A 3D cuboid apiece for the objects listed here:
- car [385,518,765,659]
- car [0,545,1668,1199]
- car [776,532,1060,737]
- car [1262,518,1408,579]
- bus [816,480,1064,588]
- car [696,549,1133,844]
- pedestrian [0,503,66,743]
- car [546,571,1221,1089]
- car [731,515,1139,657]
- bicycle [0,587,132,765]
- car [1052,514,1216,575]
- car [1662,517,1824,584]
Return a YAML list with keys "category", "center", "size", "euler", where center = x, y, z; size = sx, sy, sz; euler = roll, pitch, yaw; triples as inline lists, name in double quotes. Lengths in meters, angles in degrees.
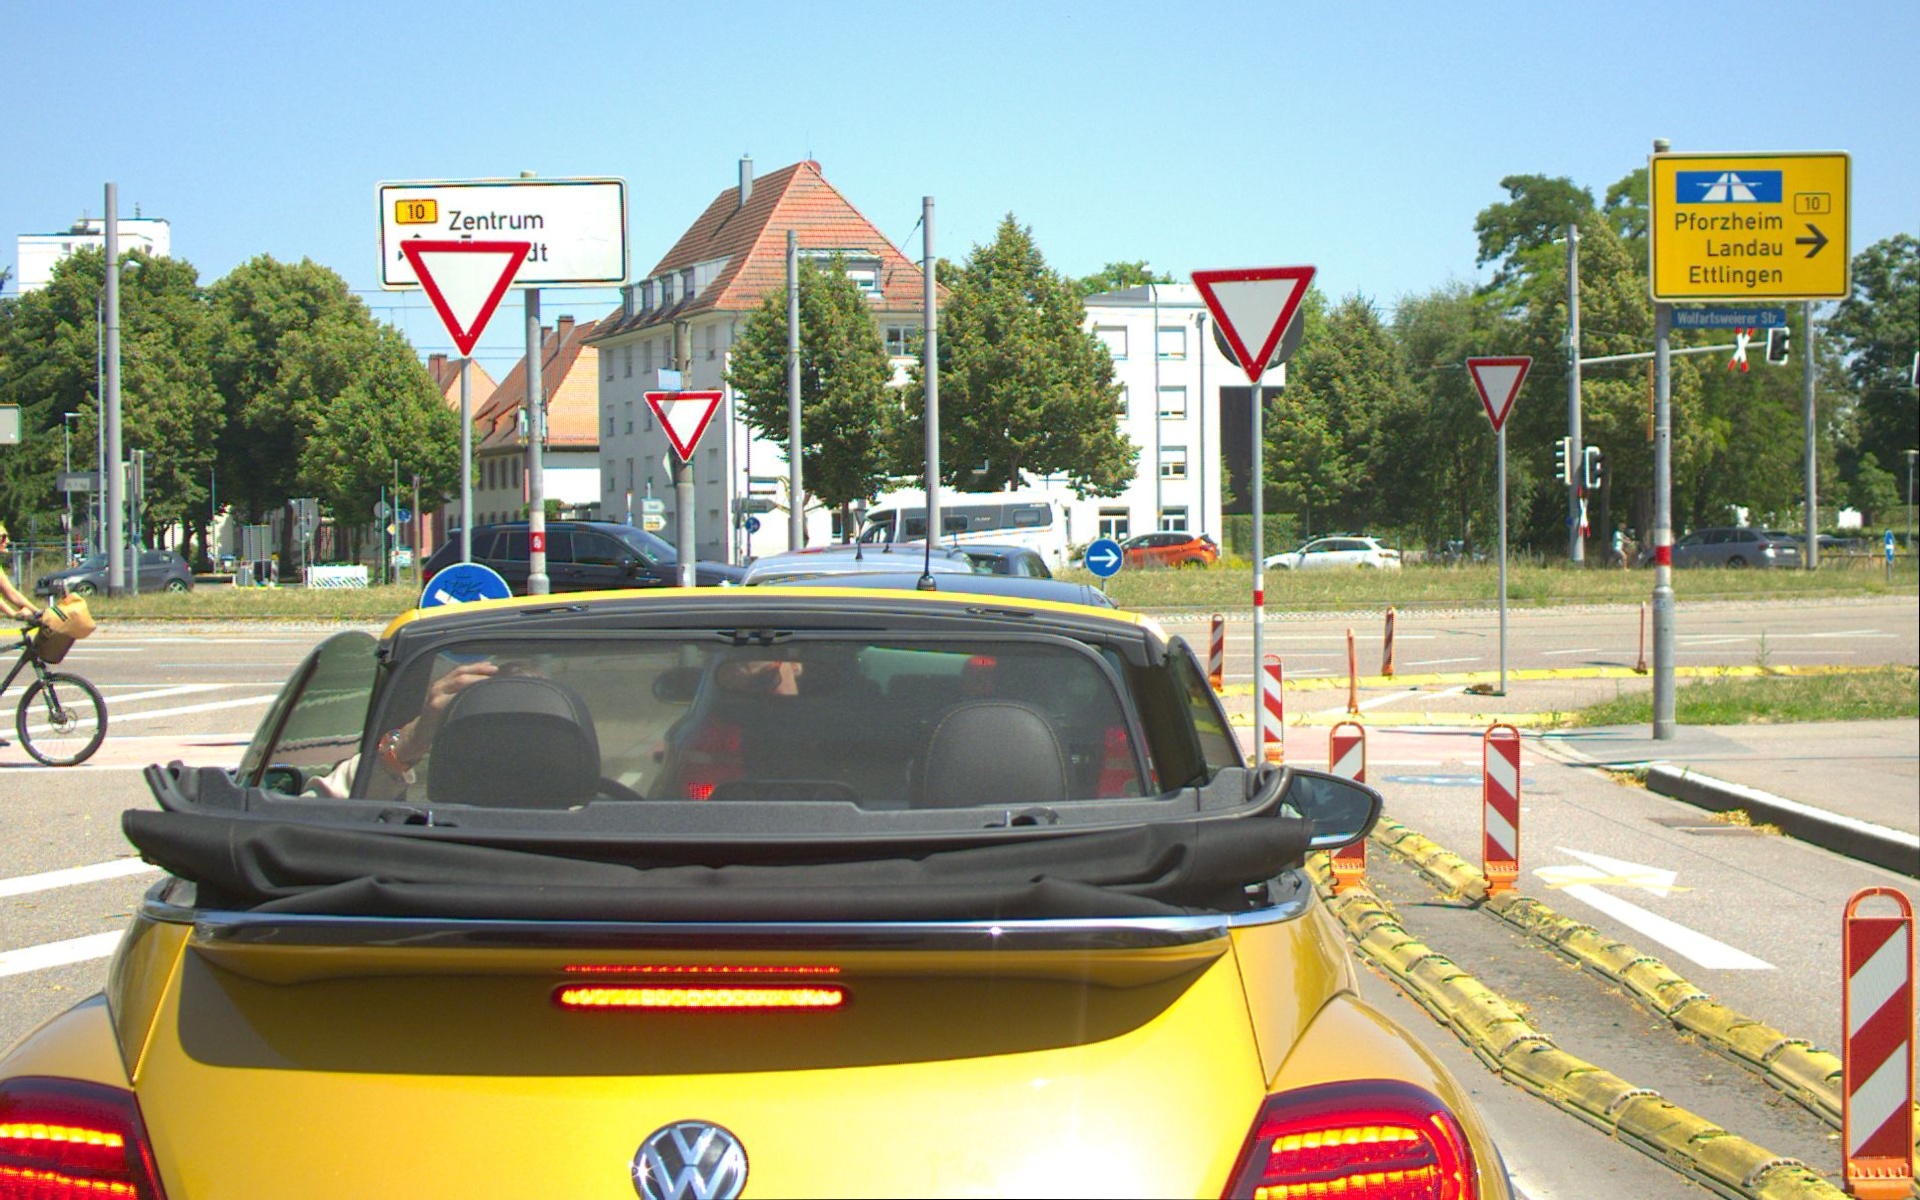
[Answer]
- category: "car"
  center: [-4.986, -0.161, 44.686]
  size: [4.409, 1.589, 1.999]
  euler: [0, 7, 18]
- category: "car"
  center: [-0.304, 0.677, 5.103]
  size: [1.765, 1.476, 4.258]
  euler: [1, 1, -1]
- category: "car"
  center: [-0.333, 0.209, 27.519]
  size: [2.065, 1.476, 4.543]
  euler: [-1, 1, -1]
- category: "car"
  center: [11.201, -1.537, 102.571]
  size: [3.991, 1.766, 1.784]
  euler: [1, 1, 21]
- category: "bus"
  center: [-0.588, -2.000, 104.859]
  size: [7.255, 3.161, 2.260]
  euler: [1, 0, 8]
- category: "car"
  center: [-0.242, 0.440, 18.538]
  size: [2.065, 1.377, 4.258]
  euler: [1, 1, -1]
- category: "pedestrian"
  center: [-6.851, 0.153, 24.516]
  size: [0.733, 1.685, 0.575]
  euler: [1, 0, 9]
- category: "car"
  center: [-0.235, 0.619, 11.666]
  size: [1.851, 1.361, 4.258]
  euler: [-1, 1, -1]
- category: "car"
  center: [-0.246, -0.173, 39.350]
  size: [4.406, 1.522, 1.999]
  euler: [1, 0, 8]
- category: "bicycle"
  center: [-6.915, 0.547, 24.519]
  size: [1.843, 1.227, 0.613]
  euler: [-2, 0, 10]
- category: "car"
  center: [5.095, -1.624, 100.510]
  size: [4.434, 1.730, 1.847]
  euler: [1, 1, 19]
- category: "car"
  center: [20.949, -1.321, 92.179]
  size: [1.842, 1.730, 4.445]
  euler: [1, 1, -26]
